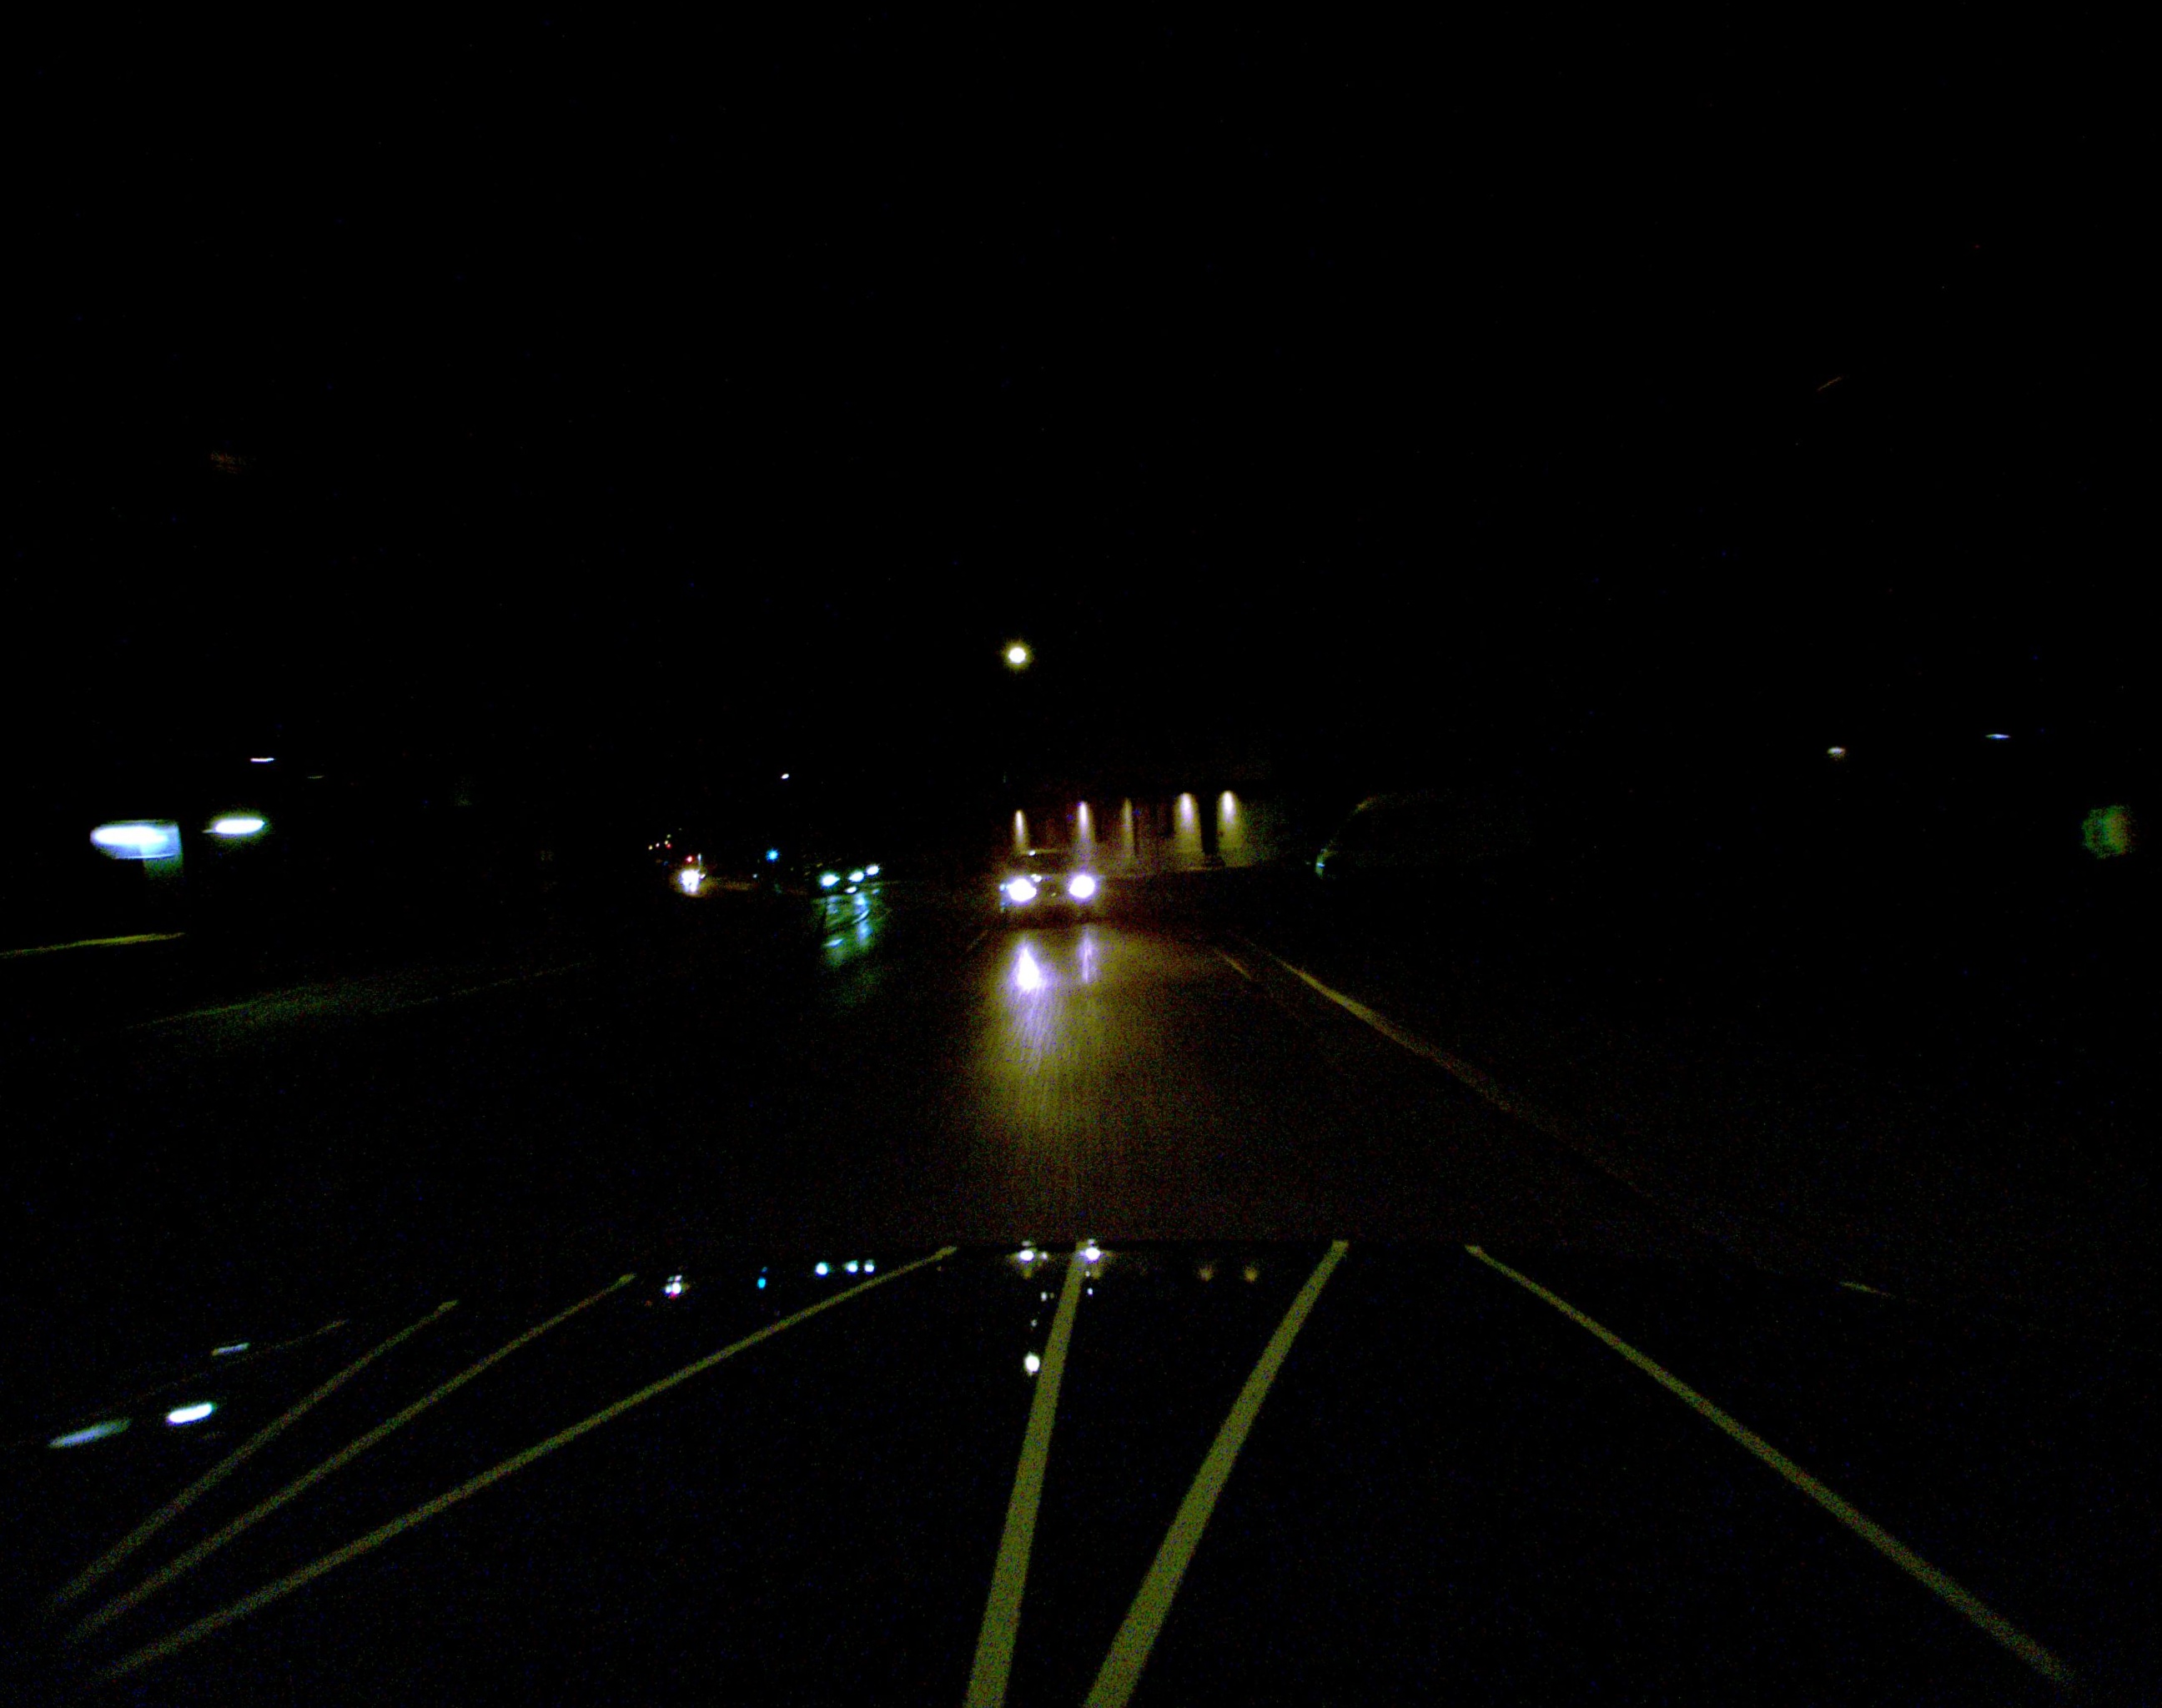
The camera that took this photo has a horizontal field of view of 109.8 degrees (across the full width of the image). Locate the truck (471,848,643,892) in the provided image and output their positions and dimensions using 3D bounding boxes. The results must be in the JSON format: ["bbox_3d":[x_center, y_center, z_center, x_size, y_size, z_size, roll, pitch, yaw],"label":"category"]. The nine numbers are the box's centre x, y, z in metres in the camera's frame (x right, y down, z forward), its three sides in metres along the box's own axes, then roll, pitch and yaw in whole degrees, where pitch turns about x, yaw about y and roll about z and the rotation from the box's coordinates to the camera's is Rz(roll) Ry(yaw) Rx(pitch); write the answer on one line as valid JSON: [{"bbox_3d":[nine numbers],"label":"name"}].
[{"bbox_3d":[-63.575,1.823,93.080,16.857,3.962,3.124,-5,3,-33],"label":"truck"}]

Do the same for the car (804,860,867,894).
[{"bbox_3d":[-12.095,1.085,37.265,1.732,1.422,4.487,-7,3,-32],"label":"car"}]

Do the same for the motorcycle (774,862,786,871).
[{"bbox_3d":[-40.784,1.737,102.993,2.027,1.173,0.574,-3,2,40],"label":"motorcycle"}]

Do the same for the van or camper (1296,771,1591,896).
[{"bbox_3d":[8.416,-0.407,18.448,2.169,2.521,6.211,-2,1,-33],"label":"van or camper"}]

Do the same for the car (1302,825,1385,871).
[{"bbox_3d":[9.897,-0.248,28.624,2.823,1.505,1.485,-5,2,-32],"label":"car"}]

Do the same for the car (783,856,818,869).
[{"bbox_3d":[-43.844,1.314,118.909,4.682,1.620,1.998,-5,2,-34],"label":"car"}]

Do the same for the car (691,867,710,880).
[{"bbox_3d":[-42.936,2.184,85.727,1.622,1.259,3.619,-6,2,-29],"label":"car"}]

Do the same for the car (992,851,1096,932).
[{"bbox_3d":[-0.929,0.719,16.679,1.635,1.430,3.836,-5,1,-11],"label":"car"}]

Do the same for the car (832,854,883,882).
[{"bbox_3d":[-13.196,0.816,44.698,1.732,1.455,3.990,-5,2,-33],"label":"car"}]

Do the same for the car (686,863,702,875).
[{"bbox_3d":[-60.370,2.360,118.561,2.002,1.626,3.991,-5,1,-29],"label":"car"}]
